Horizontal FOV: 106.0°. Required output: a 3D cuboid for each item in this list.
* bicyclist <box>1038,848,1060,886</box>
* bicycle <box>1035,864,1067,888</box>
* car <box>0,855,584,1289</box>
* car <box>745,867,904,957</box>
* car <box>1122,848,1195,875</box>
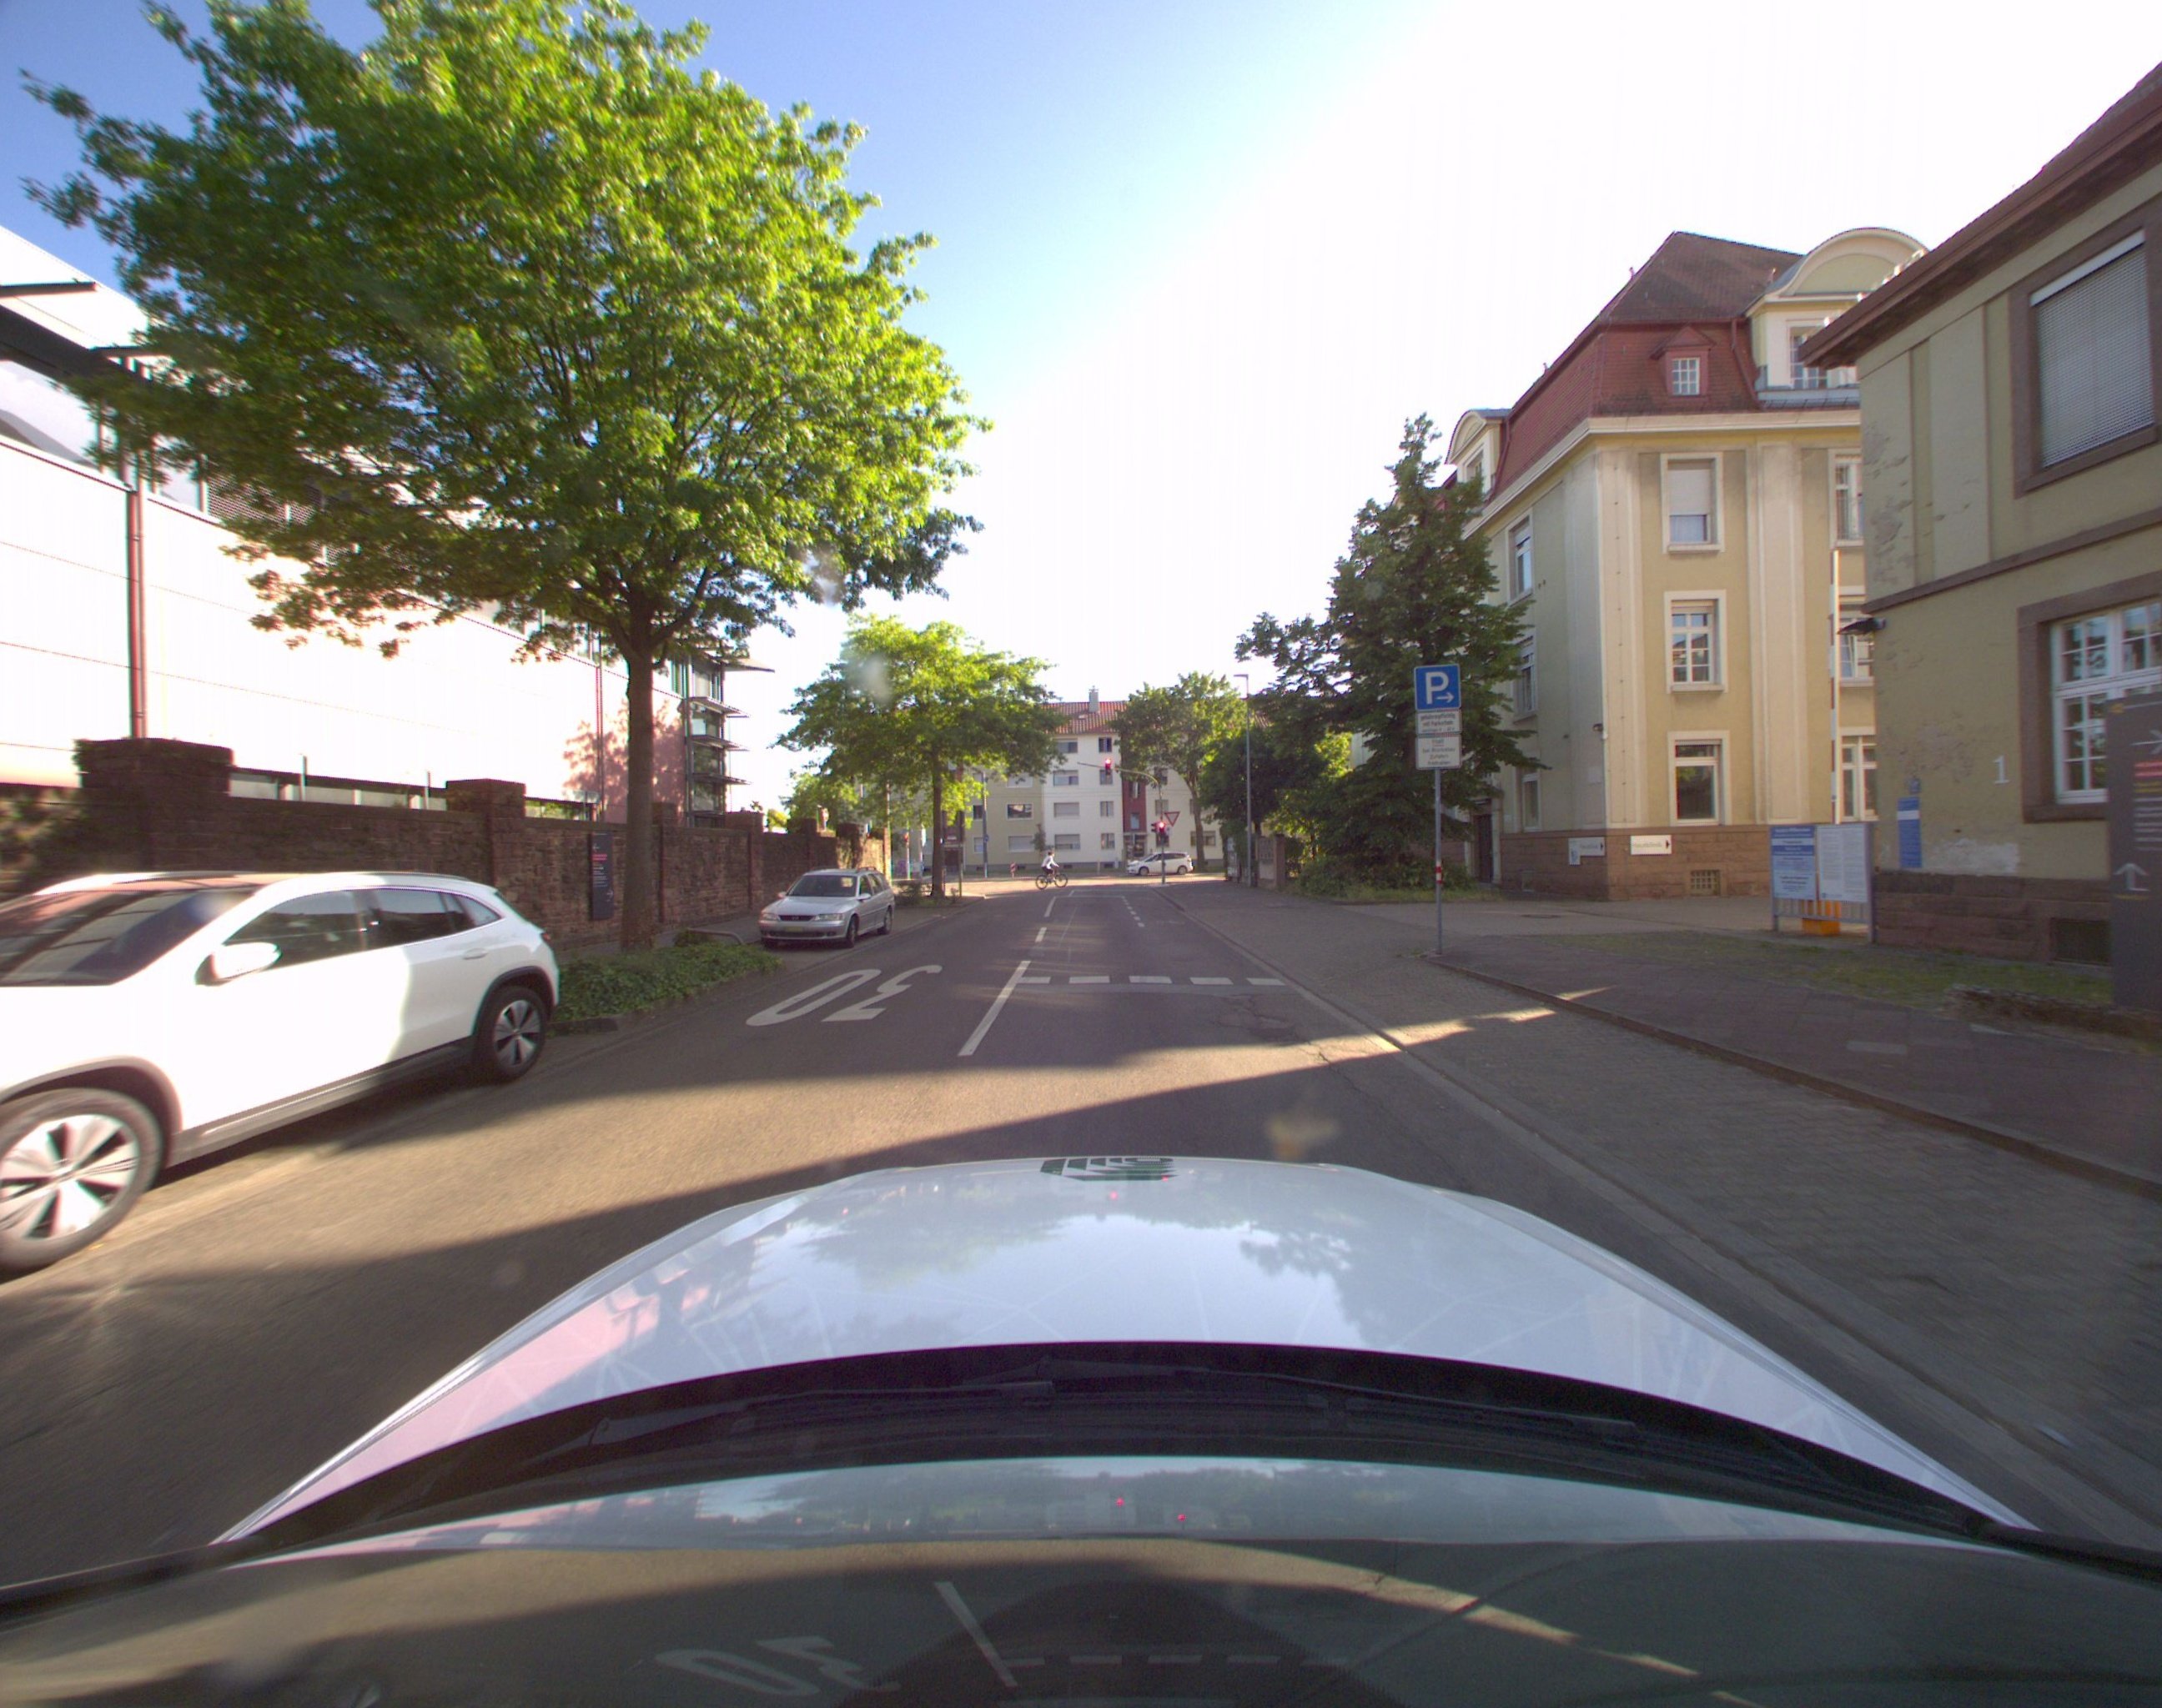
[{"bbox_3d":[-1.511,0.604,38.602,0.793,1.757,0.605,-2,-1,-42],"label":"bicyclist"},{"bbox_3d":[-1.432,1.029,38.647,1.699,1.080,0.347,-2,0,-44],"label":"bicycle"},{"bbox_3d":[-5.116,0.879,4.766,1.715,1.683,4.350,-2,0,0],"label":"car"},{"bbox_3d":[-4.953,1.044,16.413,1.720,1.475,4.478,0,0,1],"label":"car"},{"bbox_3d":[5.396,0.495,56.669,4.664,1.739,1.992,-2,0,-12],"label":"car"}]
